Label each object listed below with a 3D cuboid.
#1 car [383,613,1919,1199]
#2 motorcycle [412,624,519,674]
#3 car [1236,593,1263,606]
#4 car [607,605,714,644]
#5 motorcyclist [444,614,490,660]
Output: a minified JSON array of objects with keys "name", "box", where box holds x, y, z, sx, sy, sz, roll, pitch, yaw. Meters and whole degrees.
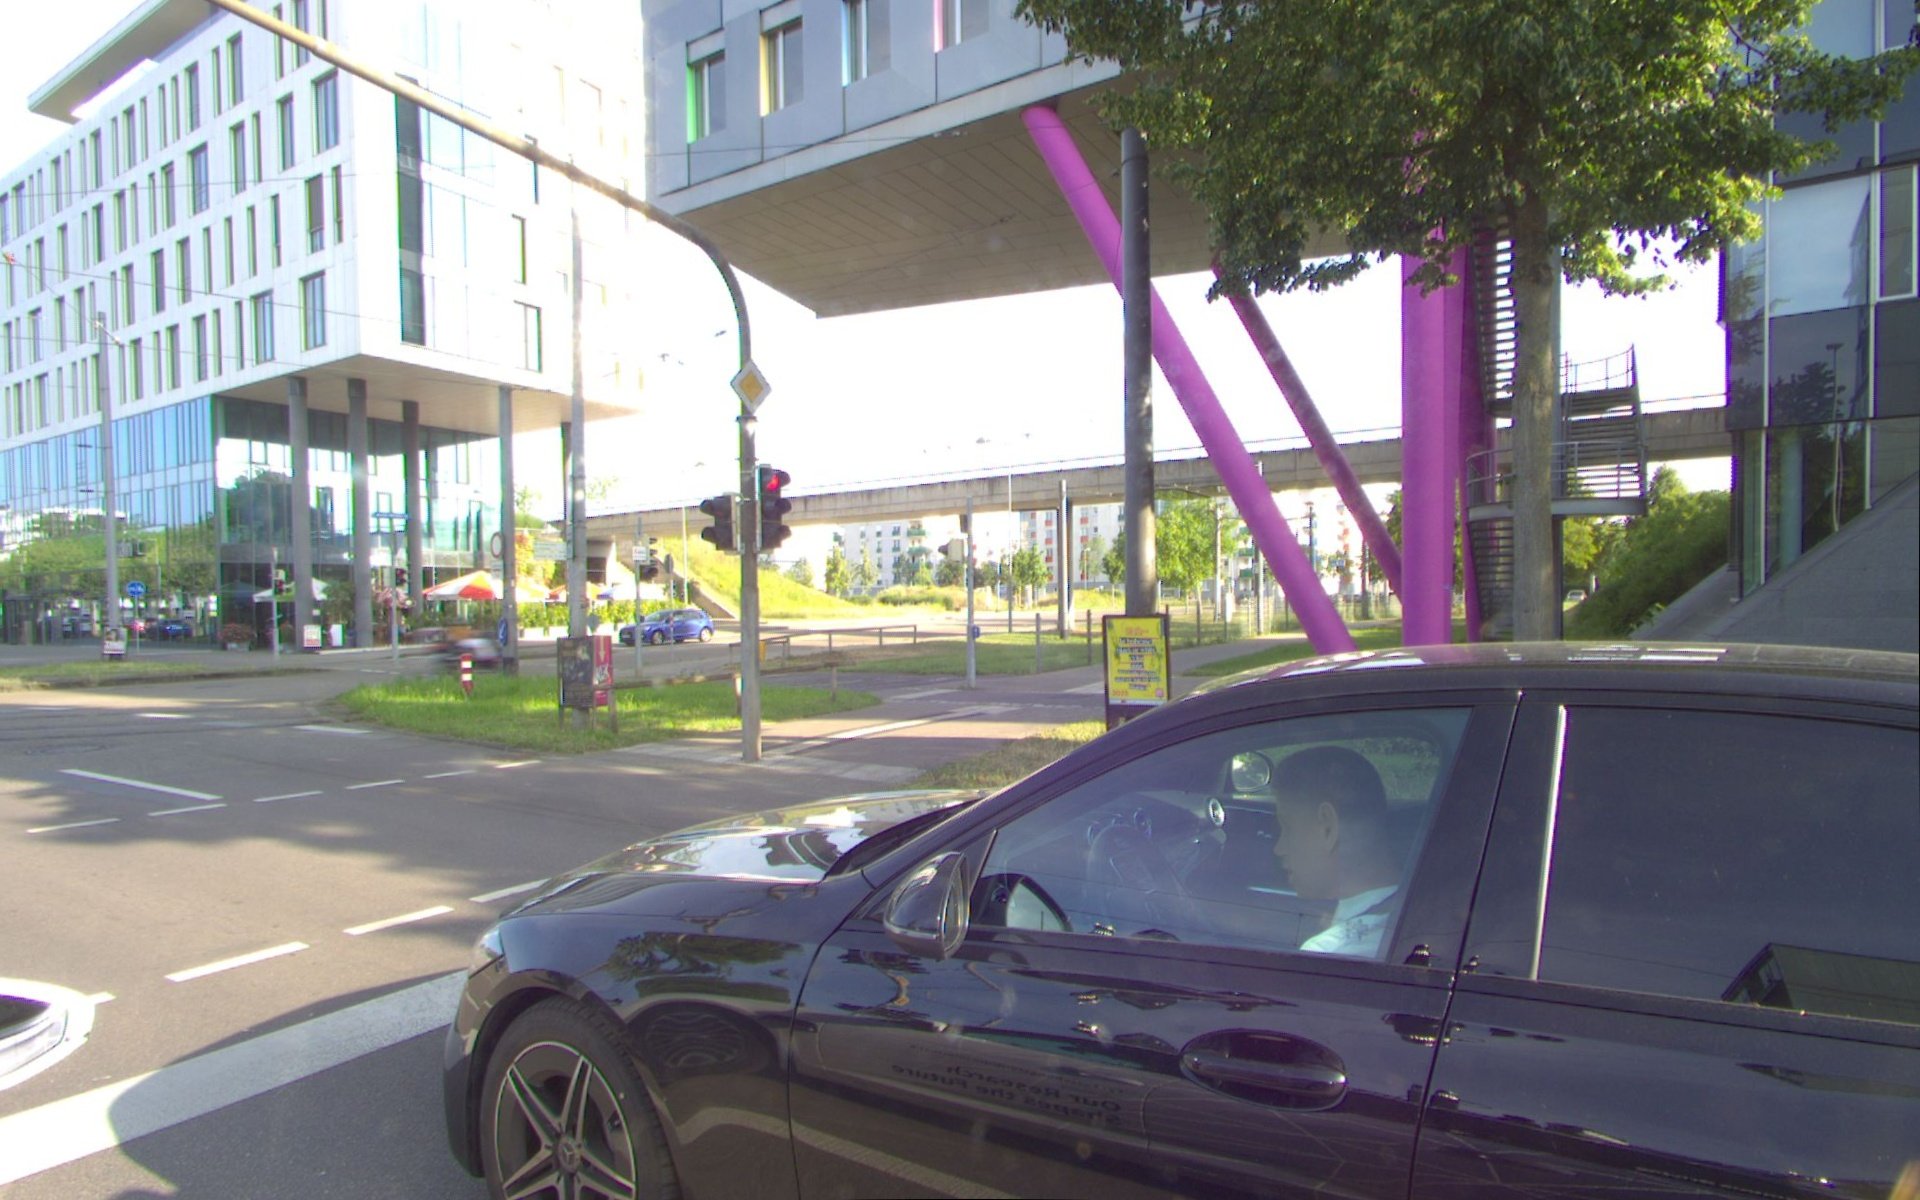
[{"name":"car","box":[0.841,0.782,2.129,4.493,1.469,1.834,0,-1,34]},{"name":"motorcycle","box":[-13.358,1.301,27.151,0.810,1.280,2.533,0,-1,35]},{"name":"car","box":[34.166,-0.087,118.319,1.823,1.443,4.197,-1,0,-3]},{"name":"car","box":[-12.471,0.981,41.952,1.832,1.443,4.176,0,1,31]},{"name":"motorcyclist","box":[-13.362,0.996,27.161,0.774,1.218,0.842,0,-1,36]}]
